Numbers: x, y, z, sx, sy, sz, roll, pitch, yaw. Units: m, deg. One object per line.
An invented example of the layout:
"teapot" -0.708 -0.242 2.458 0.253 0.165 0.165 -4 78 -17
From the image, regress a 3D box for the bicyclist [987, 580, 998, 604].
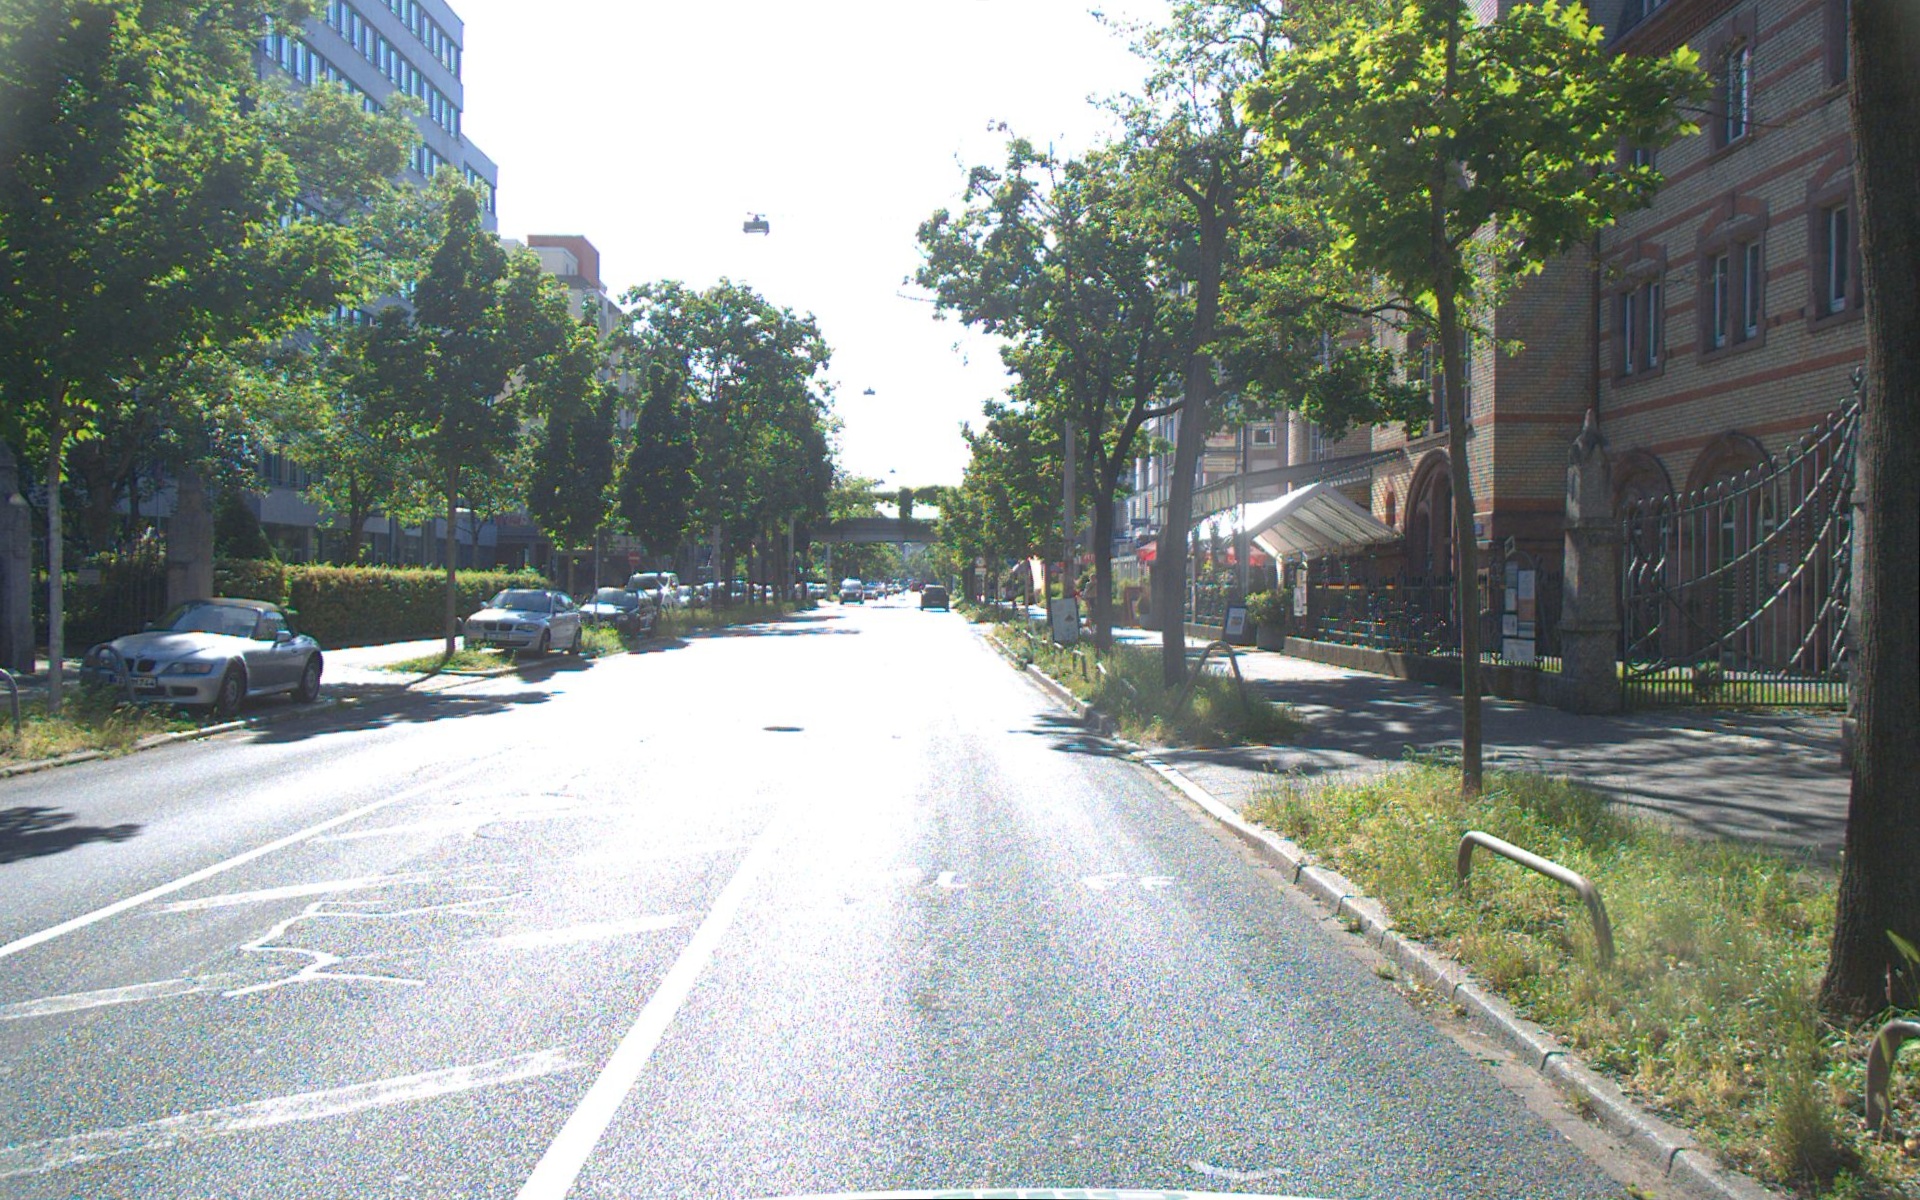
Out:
"bicyclist" 2.289 -0.569 117.392 0.654 1.725 0.888 1 -1 -3

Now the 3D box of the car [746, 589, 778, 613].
"car" -13.551 0.037 113.314 1.818 1.549 4.317 2 0 -2

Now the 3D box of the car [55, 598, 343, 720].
"car" -9.047 0.640 20.047 1.644 1.277 4.014 2 0 -1

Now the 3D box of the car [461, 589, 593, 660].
"car" -9.387 0.499 36.163 1.653 1.407 4.192 2 0 1

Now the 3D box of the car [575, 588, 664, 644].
"car" -9.710 0.427 47.442 1.677 1.484 4.072 2 0 0

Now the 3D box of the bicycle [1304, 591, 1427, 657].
"bicycle" 7.644 0.459 31.197 2.154 1.199 0.686 1 -1 -8

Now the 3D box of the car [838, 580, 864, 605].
"car" -8.371 -0.601 127.280 1.818 1.857 4.608 -1 0 -3

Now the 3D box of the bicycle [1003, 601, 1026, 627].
"bicycle" 2.421 0.613 72.888 0.578 1.084 2.024 1 0 15

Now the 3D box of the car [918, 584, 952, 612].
"car" -1.533 -0.152 100.578 1.945 1.628 4.138 1 0 -3

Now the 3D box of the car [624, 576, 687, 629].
"car" -12.626 0.088 68.853 1.942 2.113 5.192 -1 0 -4

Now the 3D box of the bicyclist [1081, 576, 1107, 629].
"bicyclist" 4.212 0.080 51.907 0.686 1.627 0.954 1 -1 -2

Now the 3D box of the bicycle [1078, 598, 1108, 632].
"bicycle" 4.181 0.479 52.053 0.671 1.045 2.095 1 -1 -2

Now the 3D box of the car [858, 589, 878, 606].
"car" -9.000 -0.264 161.661 1.818 1.595 4.713 -1 0 -2

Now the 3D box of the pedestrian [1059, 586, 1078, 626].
"pedestrian" 4.509 0.236 68.565 0.641 1.632 0.602 -2 -1 -7

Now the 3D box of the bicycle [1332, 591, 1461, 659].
"bicycle" 7.900 0.454 29.981 2.154 1.199 0.686 1 -1 -8

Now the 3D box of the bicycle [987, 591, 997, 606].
"bicycle" 2.259 -0.114 117.440 0.577 1.045 1.859 1 -1 -2
